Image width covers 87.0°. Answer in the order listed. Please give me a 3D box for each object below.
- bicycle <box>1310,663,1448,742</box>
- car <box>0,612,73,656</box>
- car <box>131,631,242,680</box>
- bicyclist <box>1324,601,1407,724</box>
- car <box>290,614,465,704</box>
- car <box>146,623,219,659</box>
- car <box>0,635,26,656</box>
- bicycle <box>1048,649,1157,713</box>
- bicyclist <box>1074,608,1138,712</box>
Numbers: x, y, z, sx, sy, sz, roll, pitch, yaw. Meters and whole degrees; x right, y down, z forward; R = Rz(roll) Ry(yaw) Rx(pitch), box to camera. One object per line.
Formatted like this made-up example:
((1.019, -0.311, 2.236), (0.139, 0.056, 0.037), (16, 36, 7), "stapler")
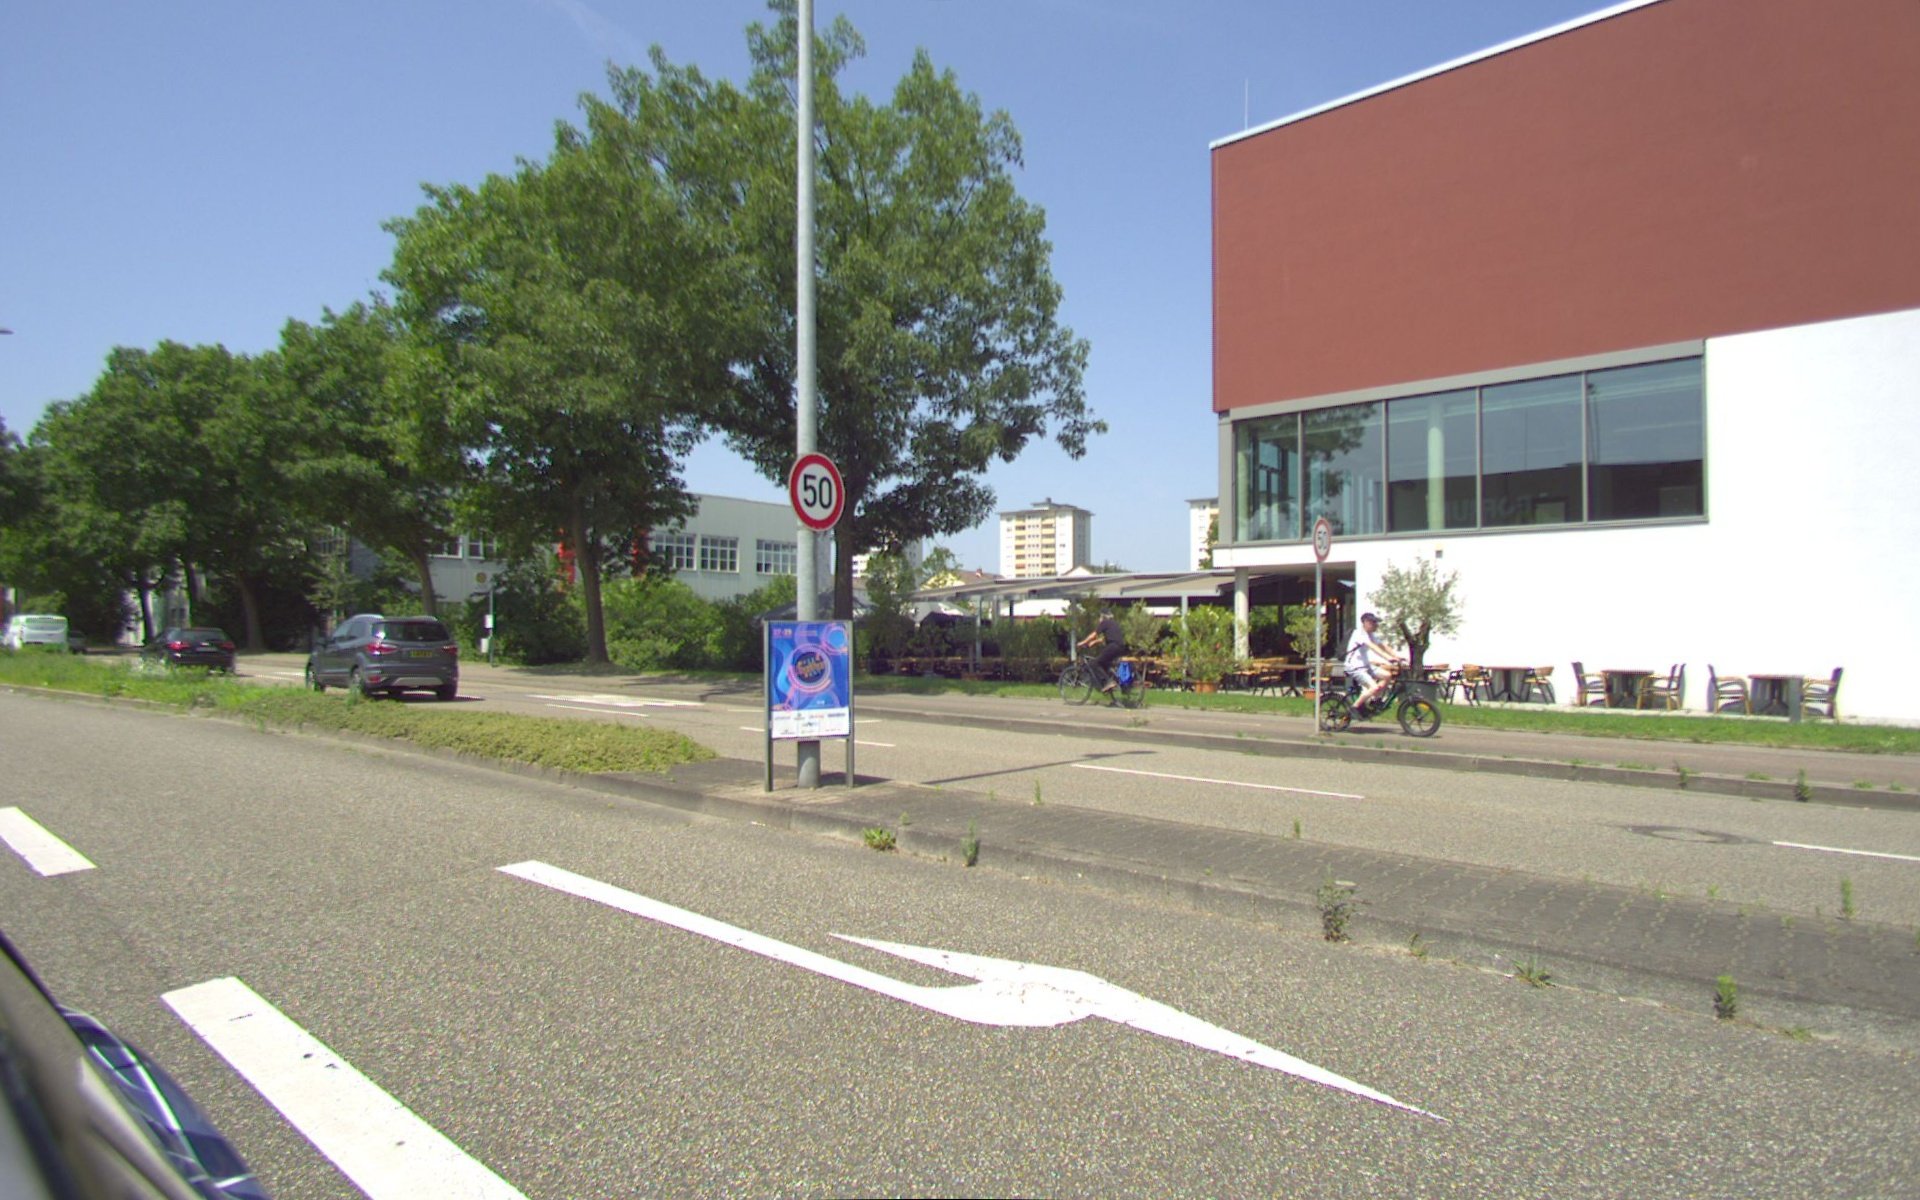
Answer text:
((5.763, 1.377, 13.973), (1.659, 0.976, 0.611), (-1, -2, 41), "bicycle")
((-43.779, 1.617, 47.805), (4.904, 1.960, 1.973), (-1, -4, 40), "car")
((-22.998, 1.636, 30.045), (3.996, 1.349, 1.662), (-1, -5, 39), "car")
((5.638, 0.856, 14.083), (0.923, 1.643, 0.601), (-1, -3, 41), "bicyclist")
((-11.544, 1.137, 19.984), (3.881, 1.612, 1.670), (-1, -5, 40), "car")
((-33.884, 1.800, 44.065), (3.889, 1.464, 1.688), (-2, -5, 41), "car")
((-69.245, 3.300, 73.317), (4.130, 1.462, 1.731), (-2, -5, 41), "car")
((2.518, 1.420, 18.063), (1.883, 1.059, 0.648), (-1, -2, 41), "bicycle")
((2.590, 1.048, 17.981), (0.927, 1.783, 0.643), (-2, -2, 41), "bicyclist")
